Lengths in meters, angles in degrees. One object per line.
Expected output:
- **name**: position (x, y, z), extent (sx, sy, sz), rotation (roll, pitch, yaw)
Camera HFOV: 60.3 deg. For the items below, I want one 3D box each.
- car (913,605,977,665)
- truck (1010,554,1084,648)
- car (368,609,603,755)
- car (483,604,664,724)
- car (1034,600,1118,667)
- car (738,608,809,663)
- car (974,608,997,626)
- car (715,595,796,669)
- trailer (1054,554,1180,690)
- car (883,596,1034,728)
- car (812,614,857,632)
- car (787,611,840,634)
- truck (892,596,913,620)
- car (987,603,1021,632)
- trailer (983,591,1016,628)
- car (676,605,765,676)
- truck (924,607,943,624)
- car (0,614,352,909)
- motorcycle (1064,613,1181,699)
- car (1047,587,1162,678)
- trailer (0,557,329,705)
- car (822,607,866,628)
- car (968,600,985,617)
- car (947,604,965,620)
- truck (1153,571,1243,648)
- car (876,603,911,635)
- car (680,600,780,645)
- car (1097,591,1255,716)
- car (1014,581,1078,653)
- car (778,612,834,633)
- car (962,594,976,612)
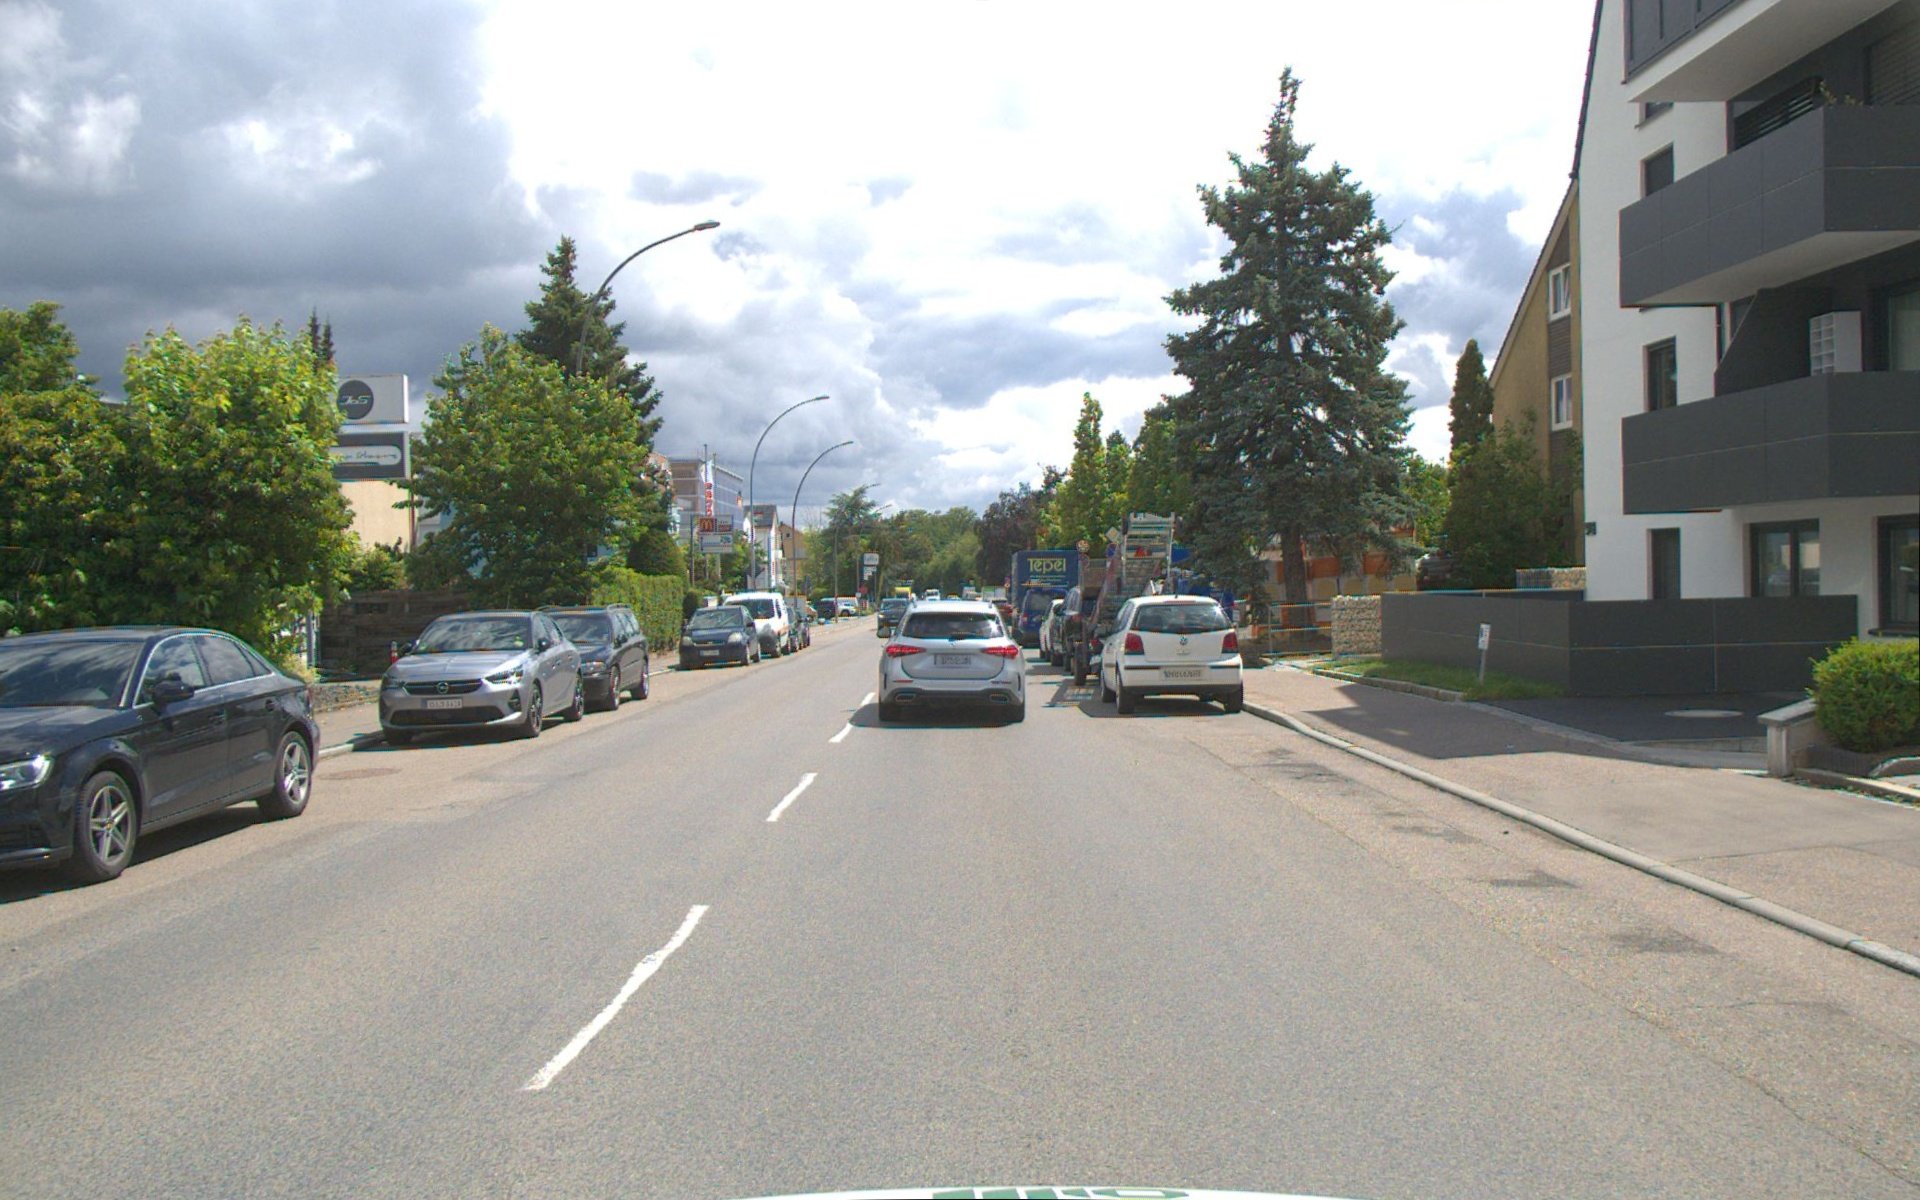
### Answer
- **car**: position (-0.441, 0.968, 47.326), extent (1.720, 1.585, 3.999), rotation (-1, 0, -1)
- **truck**: position (3.033, 0.021, 58.739), extent (2.273, 3.151, 6.042), rotation (0, 0, 0)
- **car**: position (-5.576, 0.896, 19.975), extent (1.685, 1.457, 4.198), rotation (-3, 0, -2)
- **car**: position (-5.638, 0.863, 24.689), extent (1.685, 1.519, 4.734), rotation (-2, 0, -2)
- **car**: position (2.835, 0.795, 41.276), extent (1.737, 1.534, 3.999), rotation (-2, 0, -1)
- **car**: position (-5.792, 1.076, 51.803), extent (1.709, 1.497, 4.642), rotation (-4, 0, -2)
- **car**: position (2.236, 1.453, 146.271), extent (1.756, 1.475, 4.361), rotation (-2, 0, -3)
- **car**: position (-5.706, 0.855, 46.606), extent (1.709, 1.870, 4.354), rotation (-4, 0, -2)
- **trailer**: position (2.709, 0.360, 29.369), extent (1.737, 2.182, 4.113), rotation (-2, 0, -1)
- **car**: position (-0.093, 0.714, 21.305), extent (1.748, 1.510, 4.315), rotation (0, 0, -2)
- **car**: position (-12.049, 2.219, 158.985), extent (4.192, 1.594, 1.991), rotation (-2, -3, 0)
- **car**: position (-12.969, 1.955, 146.534), extent (4.536, 1.661, 2.196), rotation (-5, 0, -4)
- **truck**: position (-7.042, 0.930, 203.454), extent (2.032, 2.863, 7.078), rotation (-2, 0, 1)
- **car**: position (2.644, 1.025, 99.168), extent (1.901, 1.599, 4.446), rotation (-2, 0, 2)
- **trailer**: position (2.604, 0.654, 110.492), extent (1.902, 2.334, 4.444), rotation (-2, 0, -2)
- **car**: position (-5.837, 0.957, 40.679), extent (1.607, 1.512, 3.999), rotation (-4, 0, -2)
- **truck**: position (-3.742, 2.141, 231.881), extent (2.271, 2.216, 6.450), rotation (-2, 0, 2)
- **car**: position (-5.521, 0.876, 10.603), extent (1.629, 1.439, 4.338), rotation (-3, 0, -1)
- **motorcycle**: position (2.554, 0.857, 25.893), extent (1.803, 1.231, 0.708), rotation (-2, 0, -36)
- **car**: position (3.015, 0.644, 35.437), extent (1.836, 1.757, 4.711), rotation (-2, 0, -2)
- **trailer**: position (-17.320, 0.658, 35.822), extent (6.115, 2.698, 2.732), rotation (-4, 0, 0)
- **car**: position (-11.479, 1.725, 164.298), extent (4.193, 1.868, 1.990), rotation (-2, -3, -2)
- **car**: position (2.039, 1.095, 205.022), extent (2.100, 2.018, 5.261), rotation (-2, 0, 0)
- **car**: position (-0.418, 1.225, 169.748), extent (1.720, 1.585, 3.999), rotation (-1, 0, -1)
- **truck**: position (7.346, 0.225, 51.635), extent (1.792, 2.117, 5.385), rotation (-4, 1, -1)
- **car**: position (-3.586, 1.027, 89.731), extent (1.708, 1.656, 4.355), rotation (-1, 0, -1)
- **car**: position (-11.018, 1.045, 79.617), extent (4.559, 2.006, 2.114), rotation (-2, 0, -4)
- **car**: position (2.848, 0.658, 22.535), extent (1.684, 1.457, 3.984), rotation (-3, 0, 2)
- **car**: position (2.713, 0.517, 53.194), extent (1.835, 2.207, 4.464), rotation (0, 0, 0)
- **car**: position (-11.437, 1.675, 122.759), extent (4.068, 1.518, 1.824), rotation (1, 0, -4)
- **car**: position (1.317, 0.412, 242.606), extent (1.748, 2.563, 4.314), rotation (0, -1, -2)
